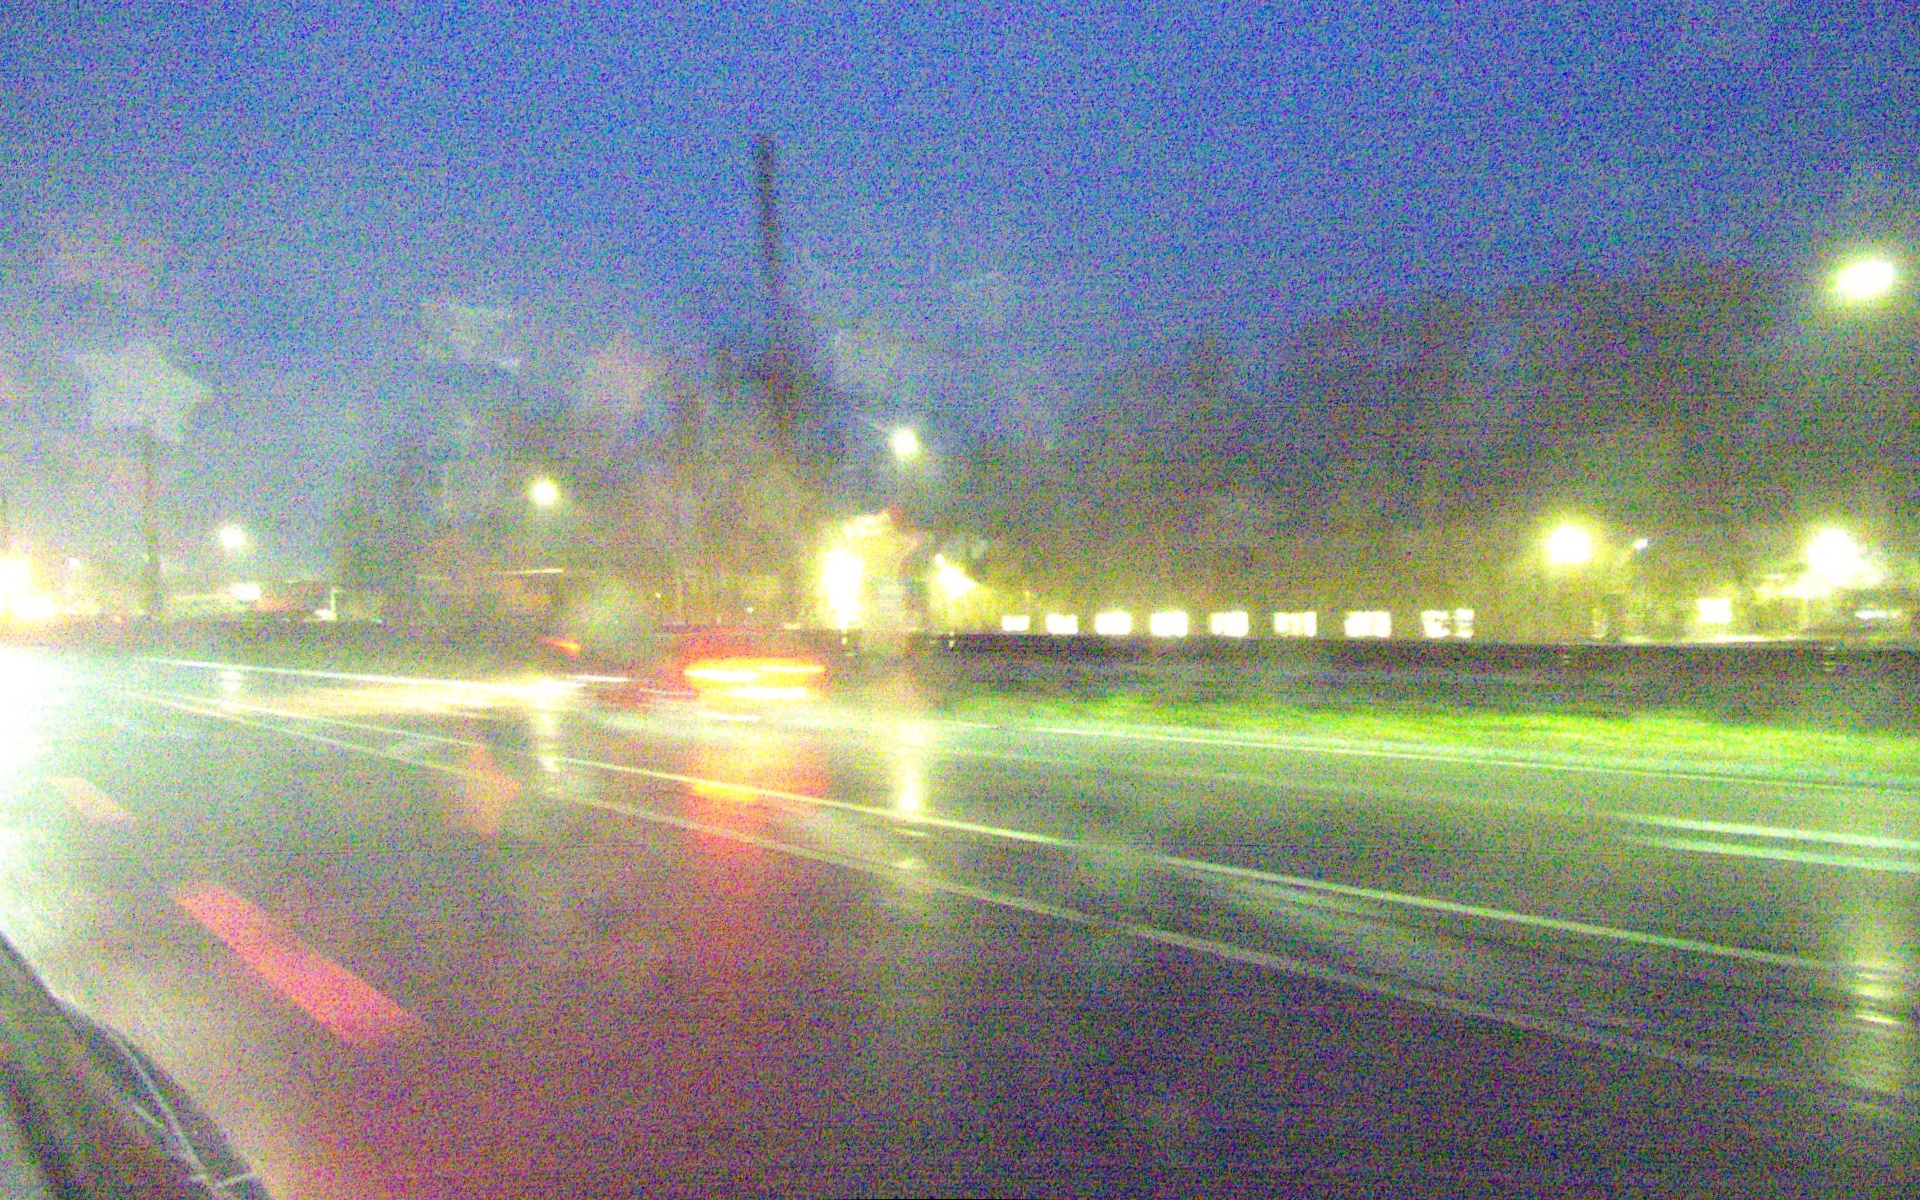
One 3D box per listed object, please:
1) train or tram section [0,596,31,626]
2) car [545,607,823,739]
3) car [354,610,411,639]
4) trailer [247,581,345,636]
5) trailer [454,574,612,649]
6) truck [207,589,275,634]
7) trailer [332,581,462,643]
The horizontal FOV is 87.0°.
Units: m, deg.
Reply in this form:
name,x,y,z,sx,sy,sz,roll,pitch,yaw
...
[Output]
name,x,y,z,sx,sy,sz,roll,pitch,yaw
train or tram section,-138.602,1.568,145.472,37.118,3.842,2.670,0,3,40
car,-4.039,0.940,14.549,4.025,1.600,1.785,-1,0,38
car,-38.201,1.629,66.898,4.213,1.706,1.769,-2,0,39
trailer,-67.158,0.828,102.111,14.822,5.049,3.932,0,3,40
trailer,-30.308,0.729,71.218,14.235,4.643,3.932,0,3,40
truck,-80.360,1.214,112.994,10.204,4.643,3.405,0,3,40
trailer,-47.481,0.966,84.966,15.502,4.643,3.932,0,3,40
